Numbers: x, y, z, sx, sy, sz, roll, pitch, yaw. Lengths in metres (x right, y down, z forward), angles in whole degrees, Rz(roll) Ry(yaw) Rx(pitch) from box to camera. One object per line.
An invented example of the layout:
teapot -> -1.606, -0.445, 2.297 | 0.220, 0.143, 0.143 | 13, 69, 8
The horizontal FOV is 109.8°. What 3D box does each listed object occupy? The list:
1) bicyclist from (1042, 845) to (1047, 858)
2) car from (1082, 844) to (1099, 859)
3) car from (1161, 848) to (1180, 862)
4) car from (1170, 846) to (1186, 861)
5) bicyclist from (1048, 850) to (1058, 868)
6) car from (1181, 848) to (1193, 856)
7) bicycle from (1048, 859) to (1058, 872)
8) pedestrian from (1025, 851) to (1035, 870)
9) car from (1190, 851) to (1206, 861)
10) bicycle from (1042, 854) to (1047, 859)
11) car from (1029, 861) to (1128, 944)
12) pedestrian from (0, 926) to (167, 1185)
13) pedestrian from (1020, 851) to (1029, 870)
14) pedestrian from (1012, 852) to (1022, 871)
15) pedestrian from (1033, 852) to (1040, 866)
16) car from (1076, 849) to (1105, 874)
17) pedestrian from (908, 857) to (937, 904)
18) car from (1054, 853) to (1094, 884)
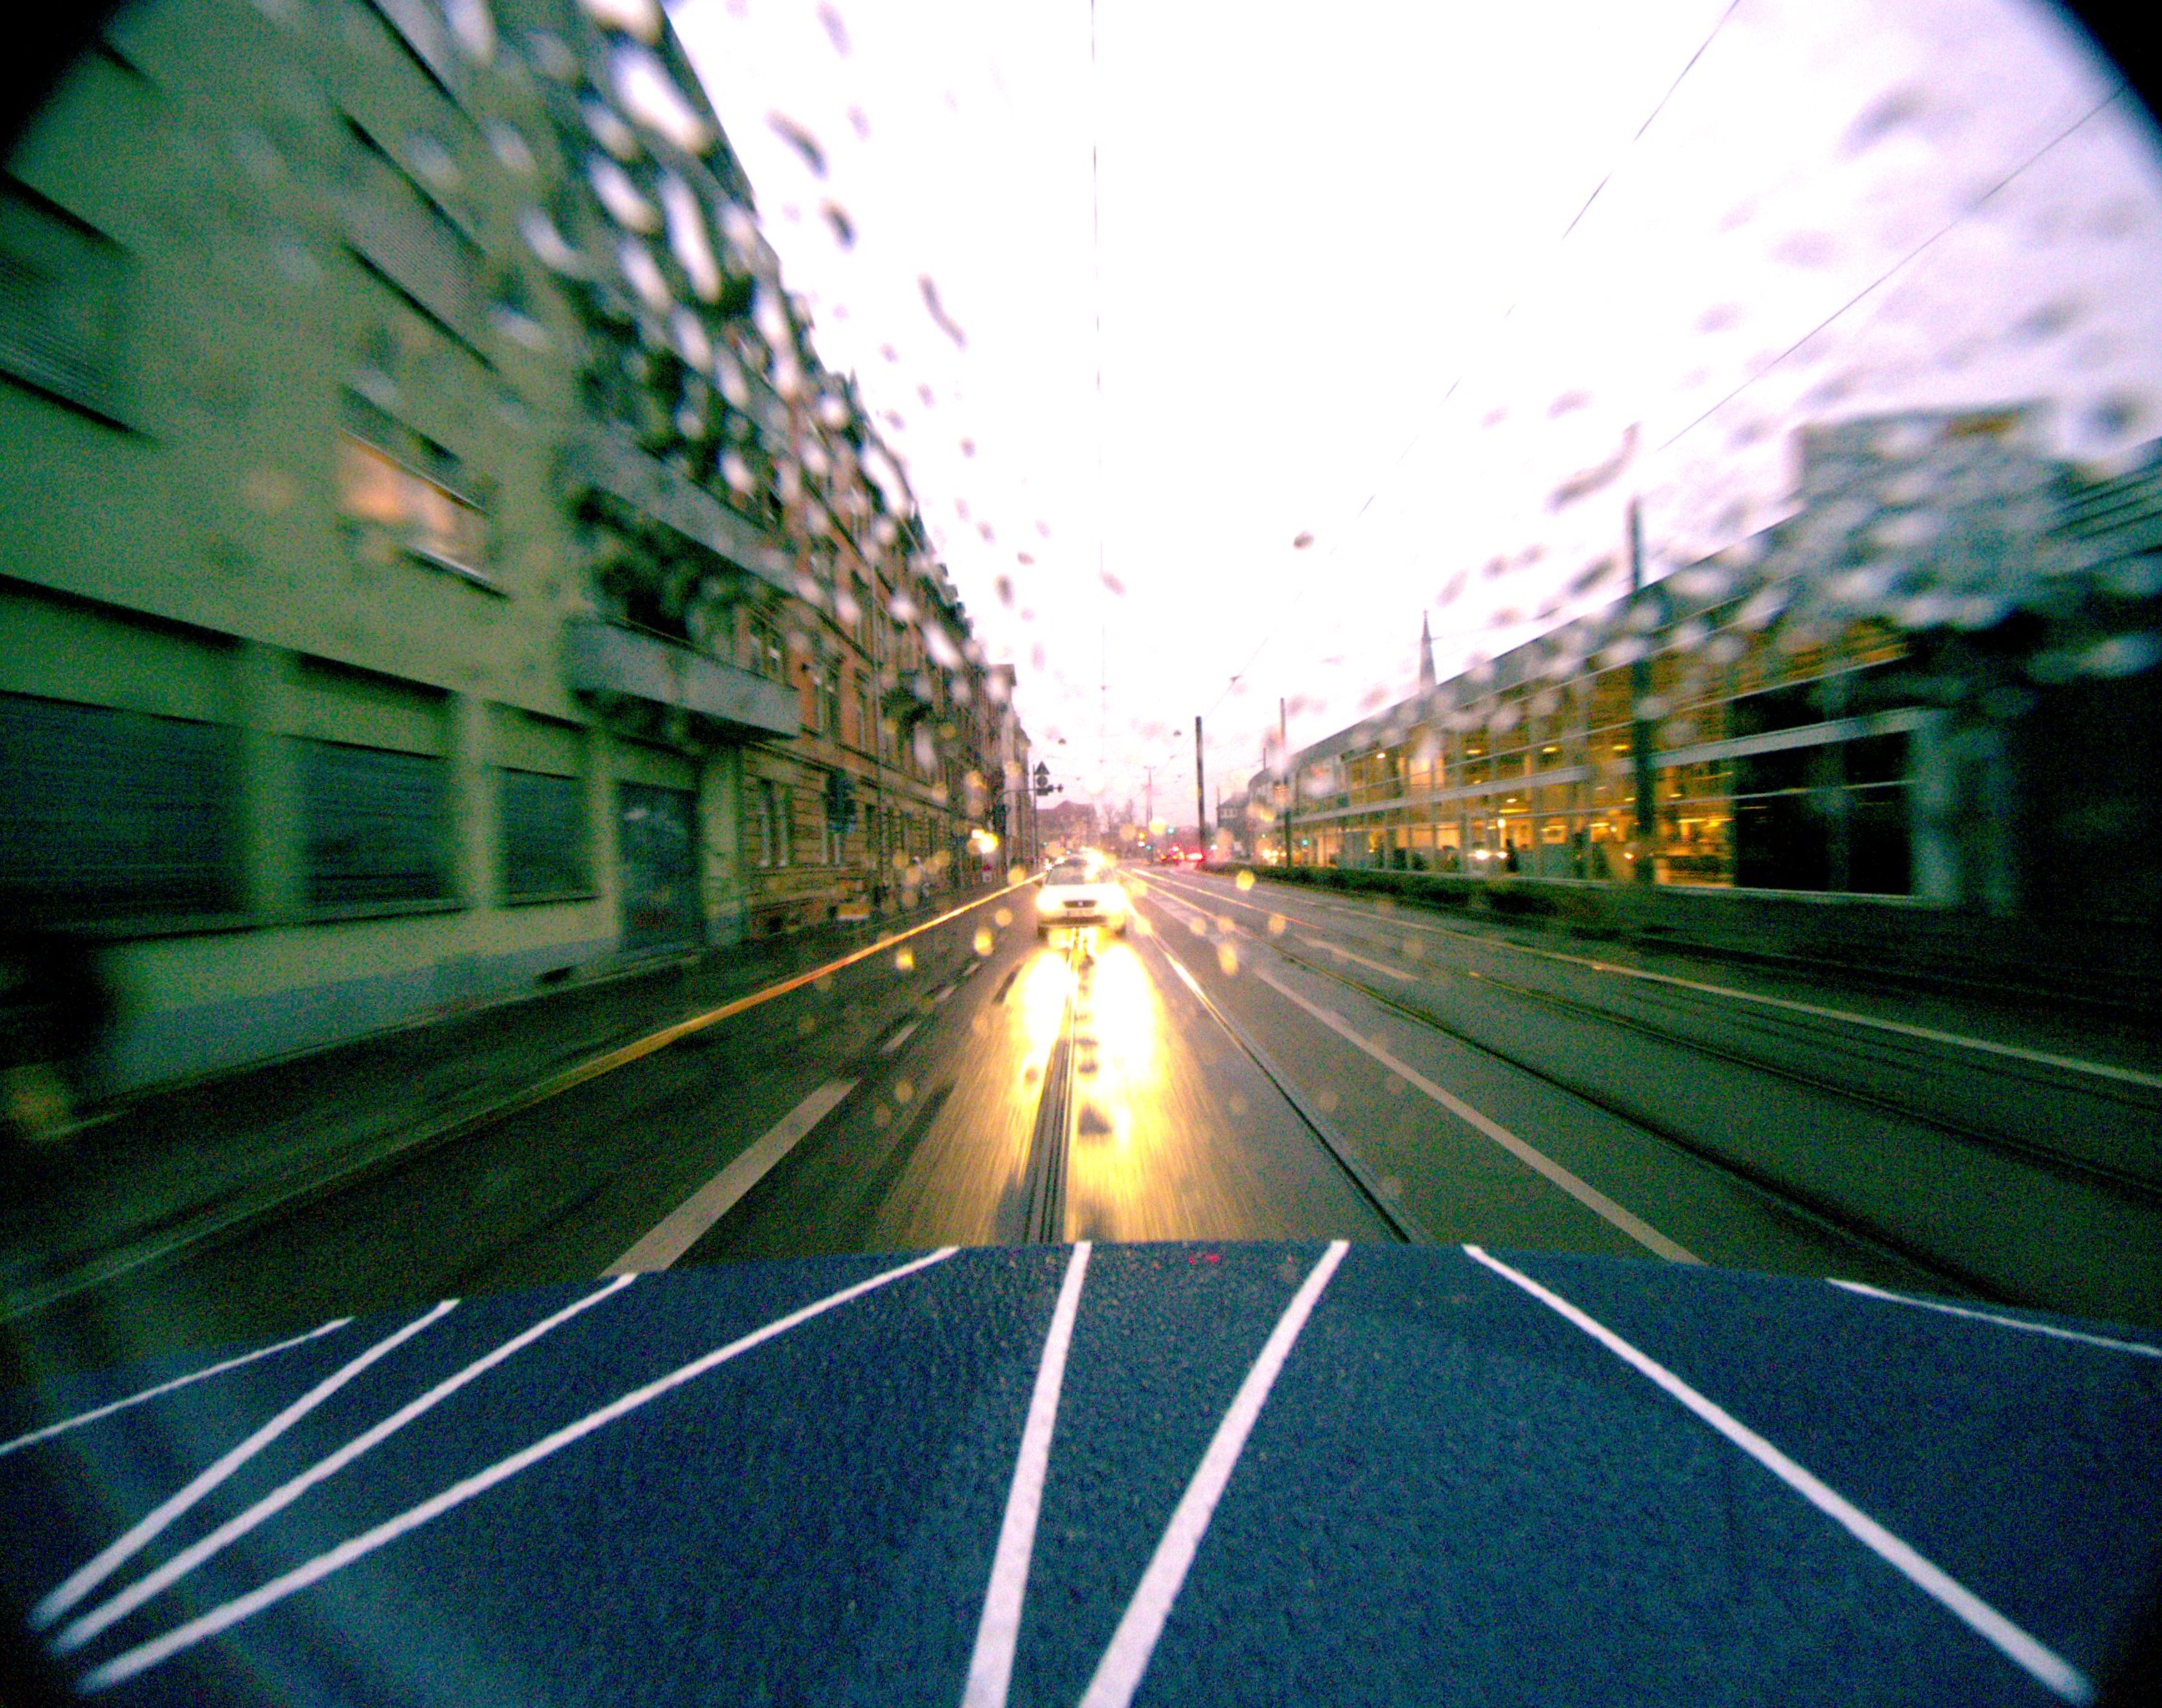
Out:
bicyclist -> -5.386, -0.429, 111.788 | 0.747, 1.869, 1.111 | -2, 1, -2
car -> 1.264, -0.357, 100.437 | 2.018, 1.809, 3.688 | -3, 1, 1
car -> 10.307, 0.120, 87.684 | 1.845, 1.569, 4.442 | -2, 0, 2
car -> 14.351, -0.131, 112.831 | 1.998, 2.002, 4.685 | -3, 1, 4
bicyclist -> -2.403, 0.406, 64.907 | 0.727, 1.525, 0.785 | -2, 1, 0
car -> 18.100, -0.372, 130.042 | 1.728, 1.350, 4.000 | -2, 0, 3
bicycle -> -2.373, 0.989, 64.914 | 0.725, 0.985, 2.212 | -2, 1, 0
pedestrian -> -4.709, 0.624, 70.404 | 0.777, 1.734, 0.673 | -2, 1, 1
car -> 17.756, 0.276, 115.378 | 1.998, 1.413, 4.588 | -2, 0, 3
bicycle -> -5.340, 0.337, 111.844 | 0.609, 0.757, 1.860 | -2, 1, -1
car -> 0.033, 0.933, 16.287 | 1.797, 1.415, 4.000 | -2, 1, 2
pedestrian -> -6.308, 1.168, 4.584 | 0.601, 1.369, 0.728 | -3, 1, 0
pedestrian -> -5.322, 0.587, 71.692 | 0.777, 1.734, 0.673 | -2, 1, 1
pedestrian -> -5.895, 0.657, 69.947 | 0.777, 1.734, 0.673 | -2, 1, 1
pedestrian -> -4.820, 0.526, 82.292 | 0.633, 1.539, 0.710 | -2, 1, -5
car -> 0.668, 0.474, 51.042 | 1.824, 1.565, 4.000 | -2, 1, 1
pedestrian -> -5.558, 0.930, 26.658 | 0.788, 1.588, 0.741 | -2, 1, -1
car -> -0.291, 0.726, 39.262 | 1.797, 1.415, 4.000 | -2, 1, 2
